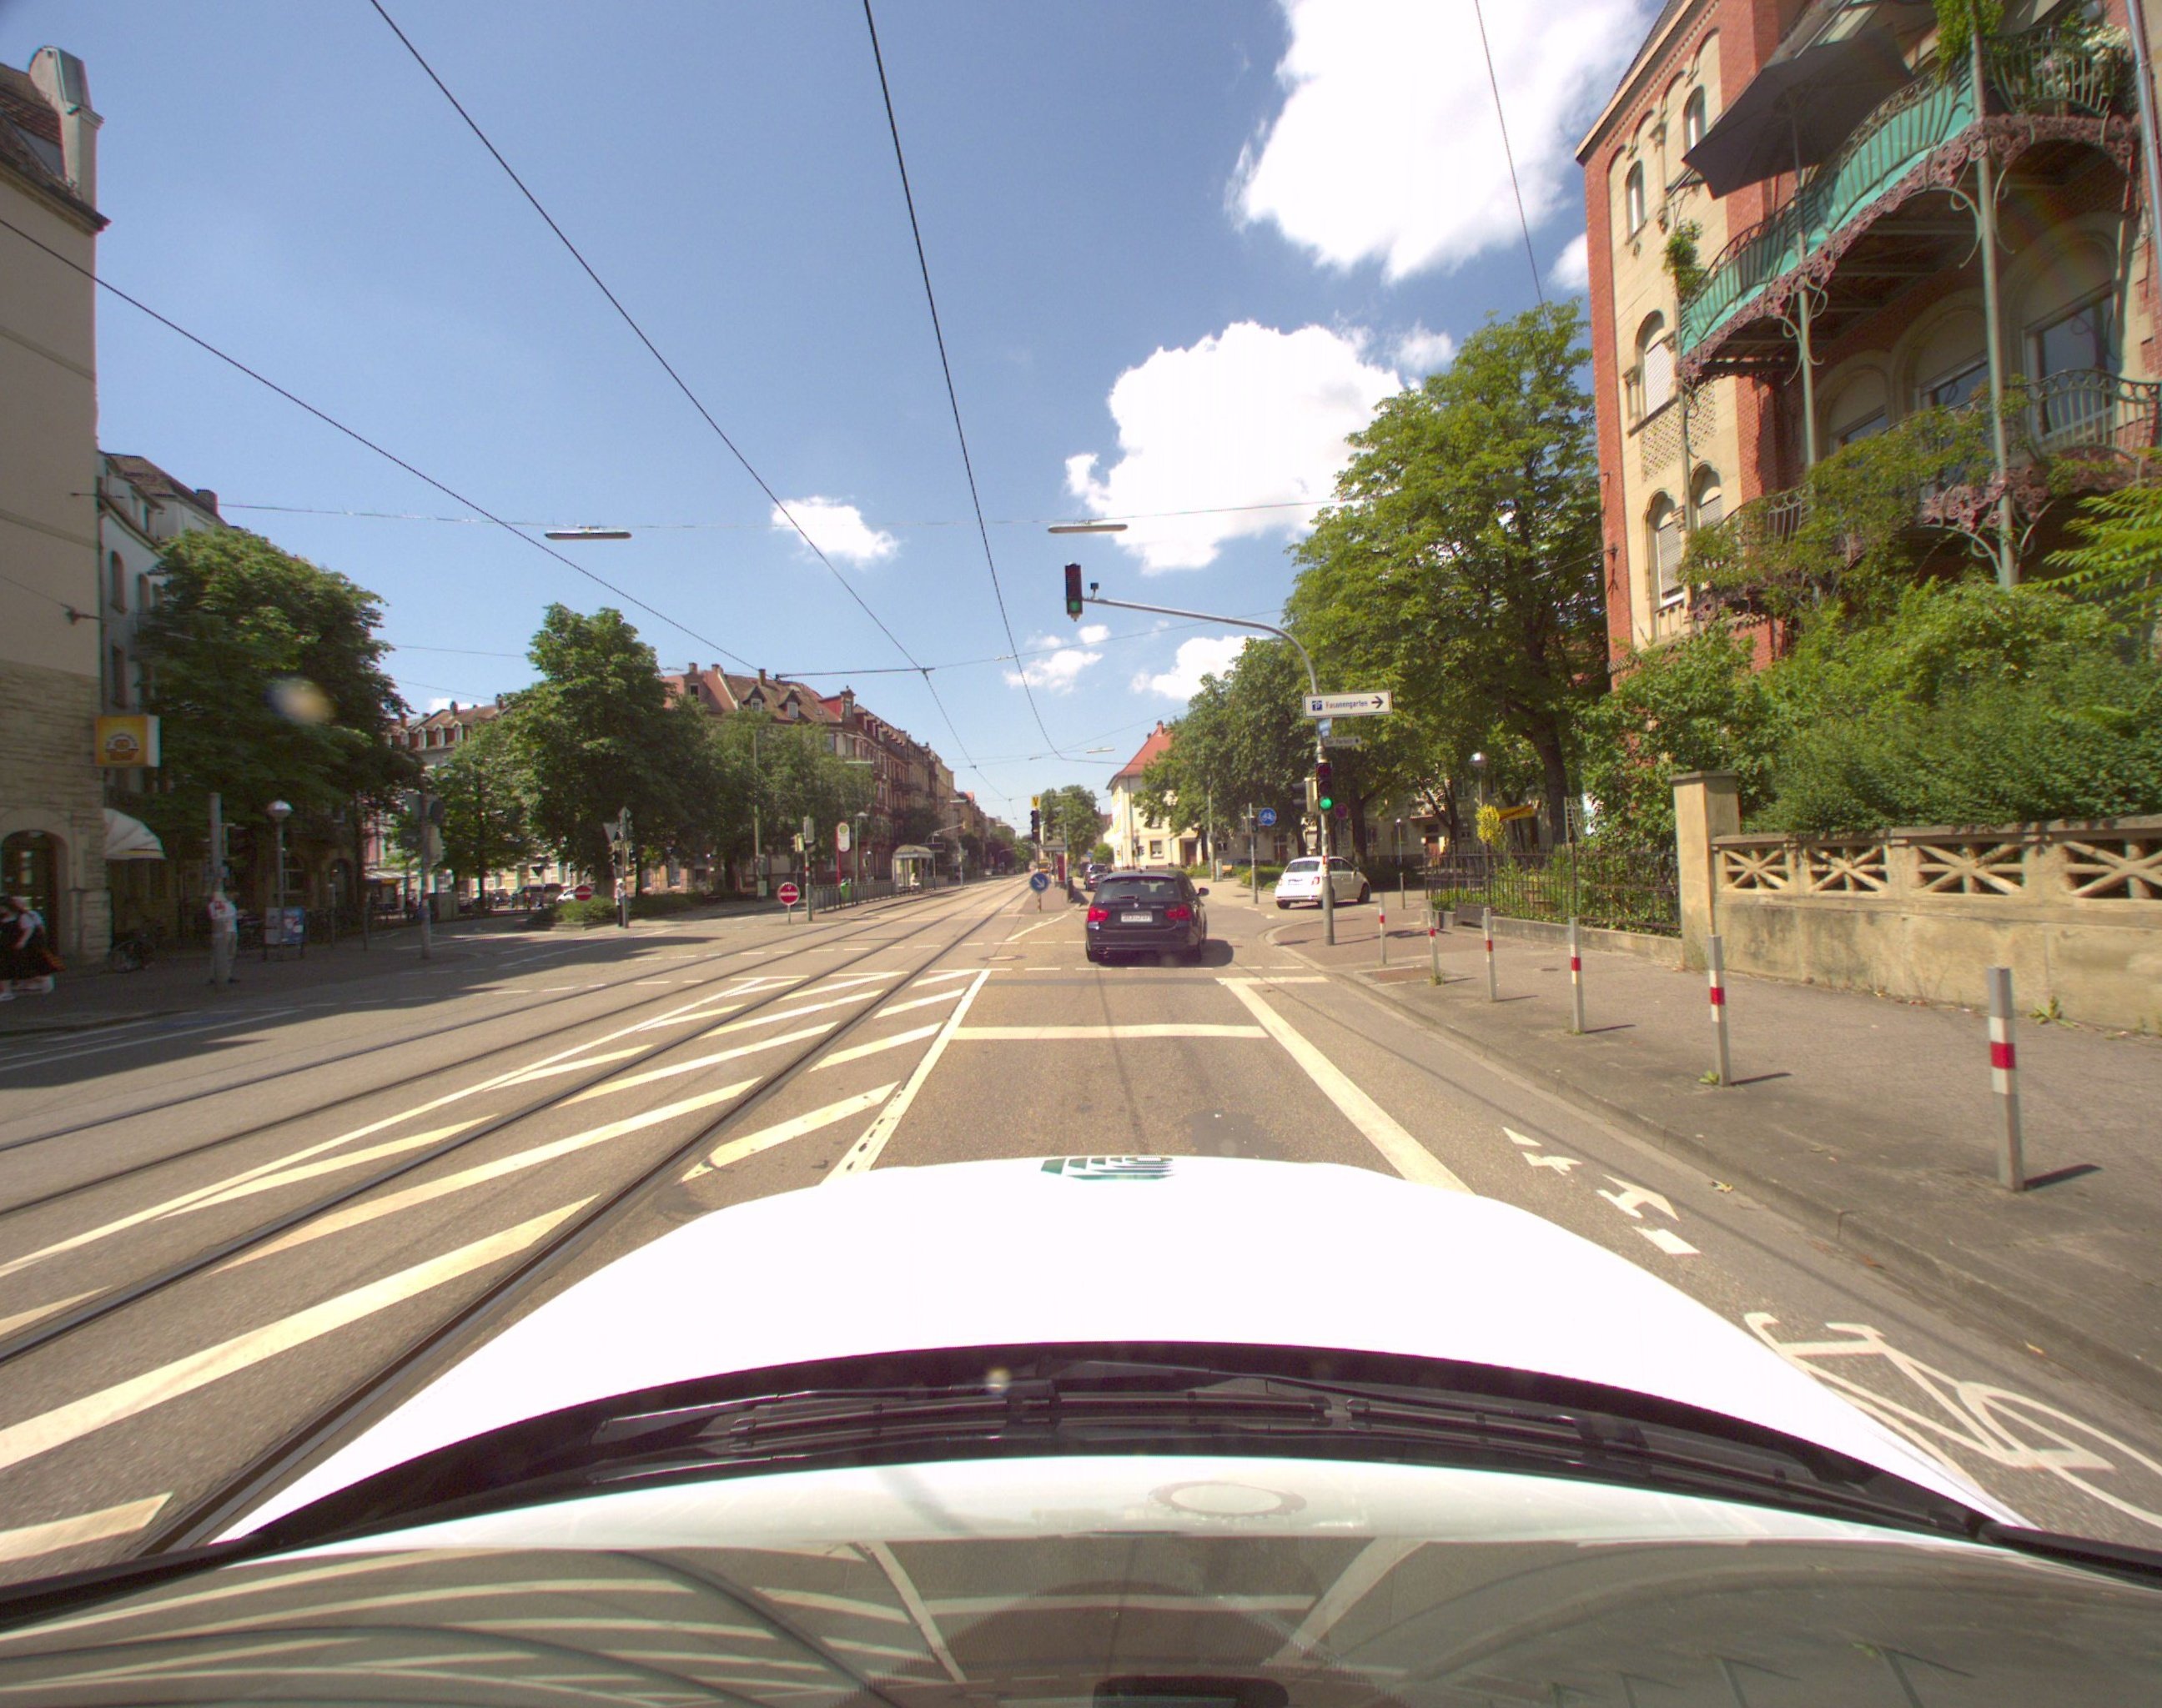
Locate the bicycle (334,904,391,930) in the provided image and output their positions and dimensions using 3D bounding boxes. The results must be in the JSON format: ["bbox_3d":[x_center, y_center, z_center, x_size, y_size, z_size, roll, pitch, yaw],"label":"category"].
[{"bbox_3d":[-33.431,2.929,37.919,1.859,1.032,0.540,-2,-1,-25],"label":"bicycle"}]

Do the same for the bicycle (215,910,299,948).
[{"bbox_3d":[-26.738,2.418,26.464,1.866,1.032,0.538,-2,-1,-42],"label":"bicycle"}]

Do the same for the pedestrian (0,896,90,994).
[{"bbox_3d":[-18.164,1.552,14.112,0.805,1.595,0.918,-3,-1,-3],"label":"pedestrian"}]

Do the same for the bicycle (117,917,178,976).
[{"bbox_3d":[-19.387,1.894,16.944,0.547,1.128,1.663,-1,-3,-39],"label":"bicycle"}]

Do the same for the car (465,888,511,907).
[{"bbox_3d":[-52.209,3.805,71.676,3.429,1.471,1.694,-3,-1,23],"label":"car"}]

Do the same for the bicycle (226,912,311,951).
[{"bbox_3d":[-24.611,2.331,24.703,0.537,1.032,1.742,-3,-1,31],"label":"bicycle"}]

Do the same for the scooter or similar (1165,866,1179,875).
[{"bbox_3d":[8.732,1.576,78.159,1.311,0.837,0.525,-2,-1,-8],"label":"scooter or similar"}]

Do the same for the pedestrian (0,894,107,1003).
[{"bbox_3d":[-16.680,1.483,13.061,0.859,1.635,1.024,-1,-1,-7],"label":"pedestrian"}]

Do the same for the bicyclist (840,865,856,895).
[{"bbox_3d":[-14.923,1.638,52.220,0.720,1.870,0.825,-3,-1,-1],"label":"bicyclist"}]

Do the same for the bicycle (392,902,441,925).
[{"bbox_3d":[-34.688,3.109,42.548,1.859,1.032,0.540,-2,-1,-25],"label":"bicycle"}]

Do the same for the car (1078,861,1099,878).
[{"bbox_3d":[0.887,1.883,99.297,1.991,1.849,3.992,-3,-1,-5],"label":"car"}]

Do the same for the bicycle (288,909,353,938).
[{"bbox_3d":[-31.403,2.854,33.657,1.858,1.032,0.540,-2,-1,-24],"label":"bicycle"}]

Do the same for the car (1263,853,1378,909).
[{"bbox_3d":[7.255,0.777,24.458,3.706,1.484,1.669,-2,-1,-45],"label":"car"}]

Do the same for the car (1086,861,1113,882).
[{"bbox_3d":[1.390,1.323,62.359,1.687,1.514,3.816,-2,-1,-3],"label":"car"}]

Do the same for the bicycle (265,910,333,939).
[{"bbox_3d":[-31.224,2.812,32.557,1.858,1.032,0.540,-2,-1,-24],"label":"bicycle"}]

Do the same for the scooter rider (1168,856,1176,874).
[{"bbox_3d":[8.699,1.072,78.176,0.590,1.687,0.527,-2,-1,-7],"label":"scooter rider"}]

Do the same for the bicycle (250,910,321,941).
[{"bbox_3d":[-30.908,2.778,31.663,1.858,1.032,0.540,-2,-1,-24],"label":"bicycle"}]

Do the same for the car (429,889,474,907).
[{"bbox_3d":[-56.804,3.954,73.493,3.429,1.471,1.694,-3,-1,23],"label":"car"}]

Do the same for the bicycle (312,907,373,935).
[{"bbox_3d":[-31.791,2.885,35.088,1.858,1.032,0.540,-2,-1,-24],"label":"bicycle"}]

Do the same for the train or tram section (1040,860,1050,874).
[{"bbox_3d":[-8.946,3.230,203.243,2.185,3.482,8.837,-3,-1,-2],"label":"train or tram section"}]

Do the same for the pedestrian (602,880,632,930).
[{"bbox_3d":[-16.652,1.824,29.224,0.843,1.723,0.910,-2,-1,-32],"label":"pedestrian"}]

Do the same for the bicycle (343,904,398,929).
[{"bbox_3d":[-33.784,2.964,38.739,1.859,1.032,0.540,-2,-1,-25],"label":"bicycle"}]

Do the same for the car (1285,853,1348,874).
[{"bbox_3d":[17.413,0.716,60.472,1.799,1.328,4.293,-2,-1,-34],"label":"car"}]

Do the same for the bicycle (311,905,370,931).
[{"bbox_3d":[-32.979,2.837,36.306,1.859,1.032,0.540,-2,-1,-25],"label":"bicycle"}]

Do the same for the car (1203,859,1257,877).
[{"bbox_3d":[12.039,1.154,65.956,3.948,1.243,1.634,-3,-1,33],"label":"car"}]

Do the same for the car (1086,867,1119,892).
[{"bbox_3d":[1.163,1.413,46.324,1.686,1.323,3.819,-2,-1,-1],"label":"car"}]

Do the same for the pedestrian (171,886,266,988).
[{"bbox_3d":[-15.341,1.454,14.504,0.857,1.733,0.775,-1,-1,0],"label":"pedestrian"}]

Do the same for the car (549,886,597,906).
[{"bbox_3d":[-42.587,3.506,68.264,3.429,1.471,1.694,-3,-1,23],"label":"car"}]

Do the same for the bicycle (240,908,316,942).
[{"bbox_3d":[-28.587,2.519,29.025,0.537,1.032,1.868,-3,-1,38],"label":"bicycle"}]

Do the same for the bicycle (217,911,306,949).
[{"bbox_3d":[-25.688,2.374,25.561,0.537,1.032,1.867,-3,-1,31],"label":"bicycle"}]

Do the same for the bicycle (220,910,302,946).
[{"bbox_3d":[-27.251,2.446,27.098,1.866,1.032,0.538,-2,-1,-43],"label":"bicycle"}]

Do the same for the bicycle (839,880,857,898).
[{"bbox_3d":[-14.932,2.242,52.289,0.727,1.102,1.713,-2,-1,-3],"label":"bicycle"}]

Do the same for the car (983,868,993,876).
[{"bbox_3d":[-19.763,3.917,173.334,1.788,1.586,3.985,-1,-1,-10],"label":"car"}]

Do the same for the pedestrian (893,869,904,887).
[{"bbox_3d":[-18.368,2.425,81.837,0.633,1.811,0.745,-3,-1,30],"label":"pedestrian"}]

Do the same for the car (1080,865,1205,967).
[{"bbox_3d":[1.210,0.908,13.814,1.712,1.409,4.576,-1,-1,9],"label":"car"}]

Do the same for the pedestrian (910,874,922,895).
[{"bbox_3d":[-9.926,1.825,49.105,0.613,1.243,0.626,-2,-1,-8],"label":"pedestrian"}]

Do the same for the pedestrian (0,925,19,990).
[{"bbox_3d":[-18.690,1.765,13.524,0.913,1.077,0.882,-3,-1,-1],"label":"pedestrian"}]

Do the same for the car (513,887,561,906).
[{"bbox_3d":[-46.337,3.613,69.386,3.429,1.471,1.694,-3,-1,23],"label":"car"}]

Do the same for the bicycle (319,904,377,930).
[{"bbox_3d":[-33.188,2.855,36.890,1.859,1.032,0.540,-2,-1,-25],"label":"bicycle"}]
